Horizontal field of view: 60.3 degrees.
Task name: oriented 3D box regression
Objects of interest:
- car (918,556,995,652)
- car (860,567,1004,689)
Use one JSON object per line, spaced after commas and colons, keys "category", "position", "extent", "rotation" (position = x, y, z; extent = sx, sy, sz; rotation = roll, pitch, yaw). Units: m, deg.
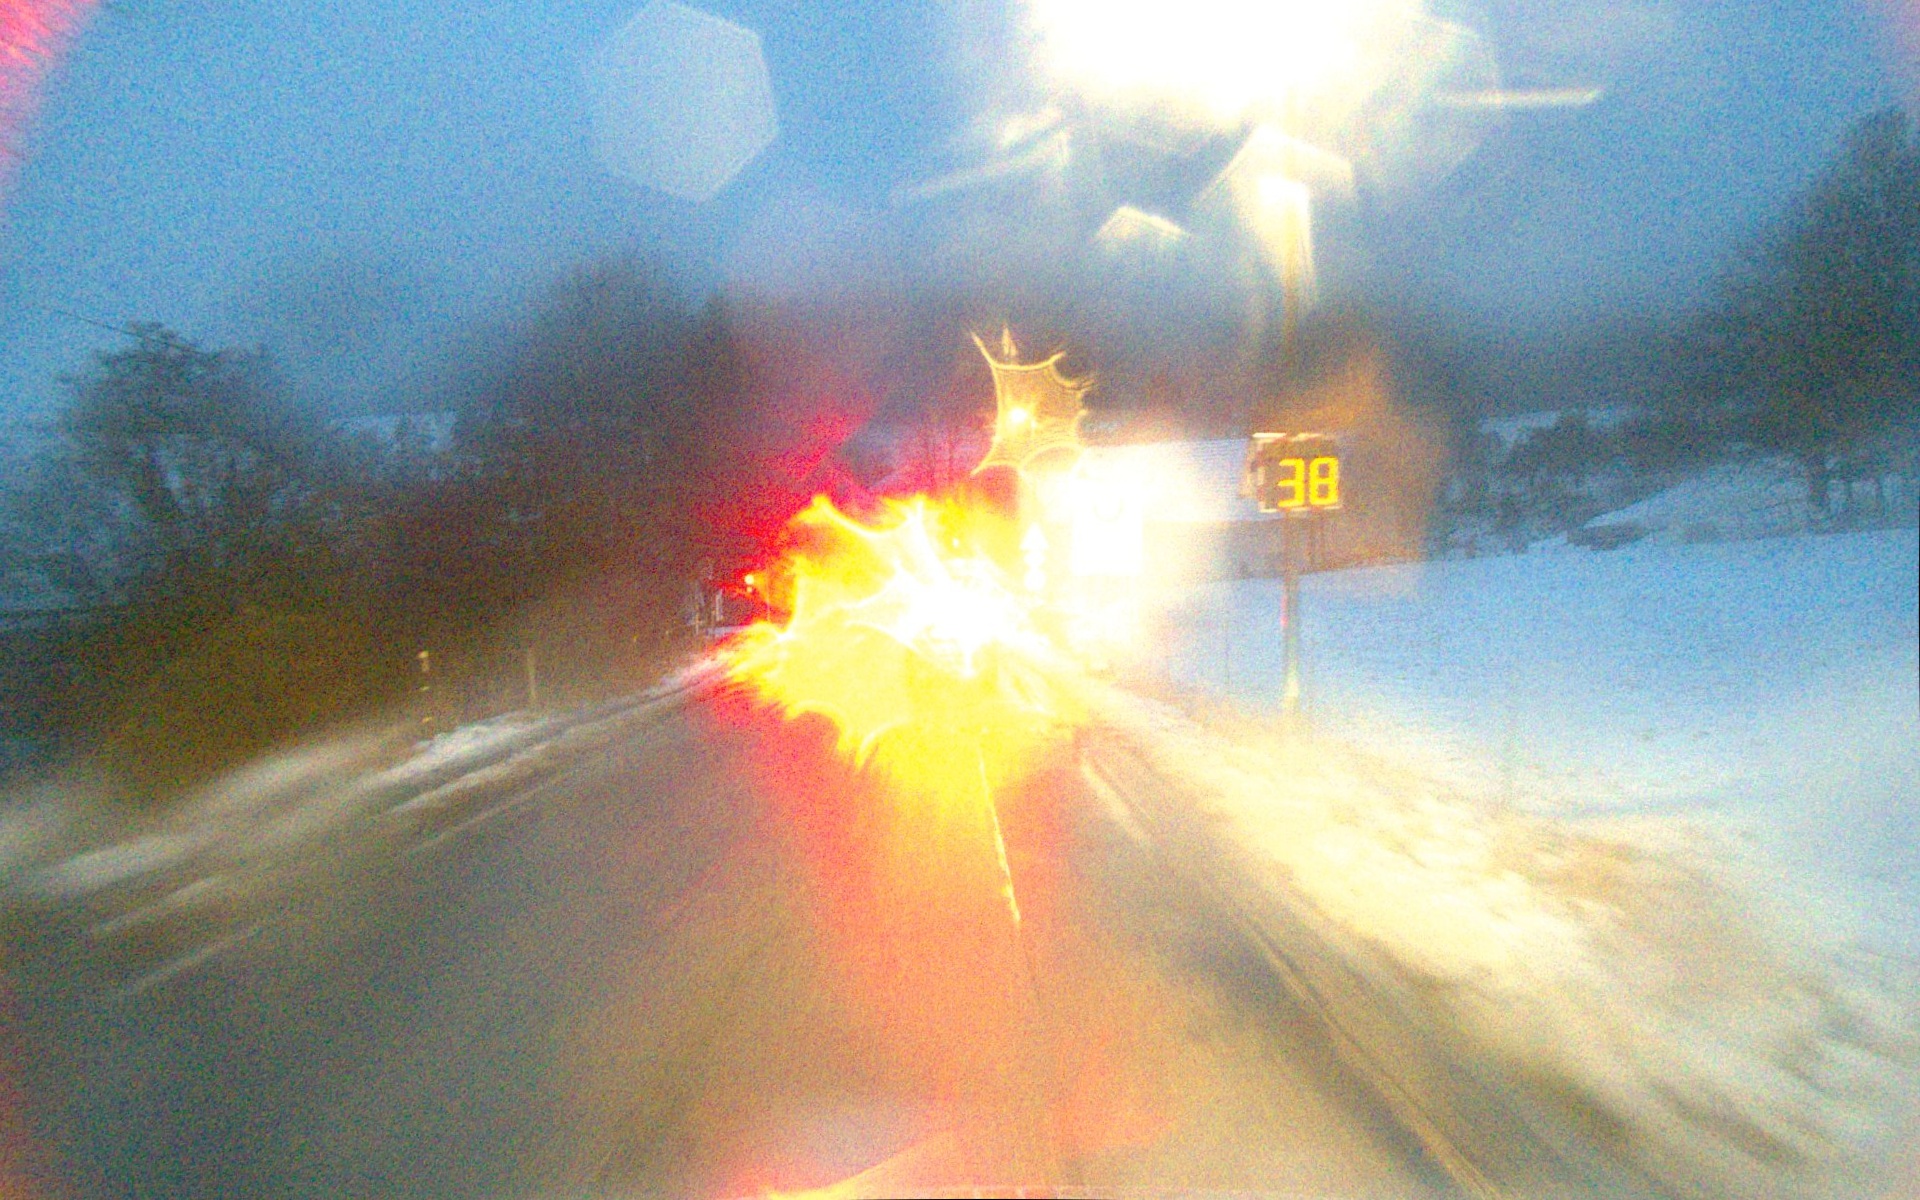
{"category": "car", "position": [-0.088, 0.161, 57.448], "extent": [2.385, 3.071, 5.325], "rotation": [-3, -1, 0]}
{"category": "car", "position": [-0.534, 0.418, 28.676], "extent": [2.228, 1.873, 5.005], "rotation": [-1, 1, -2]}
